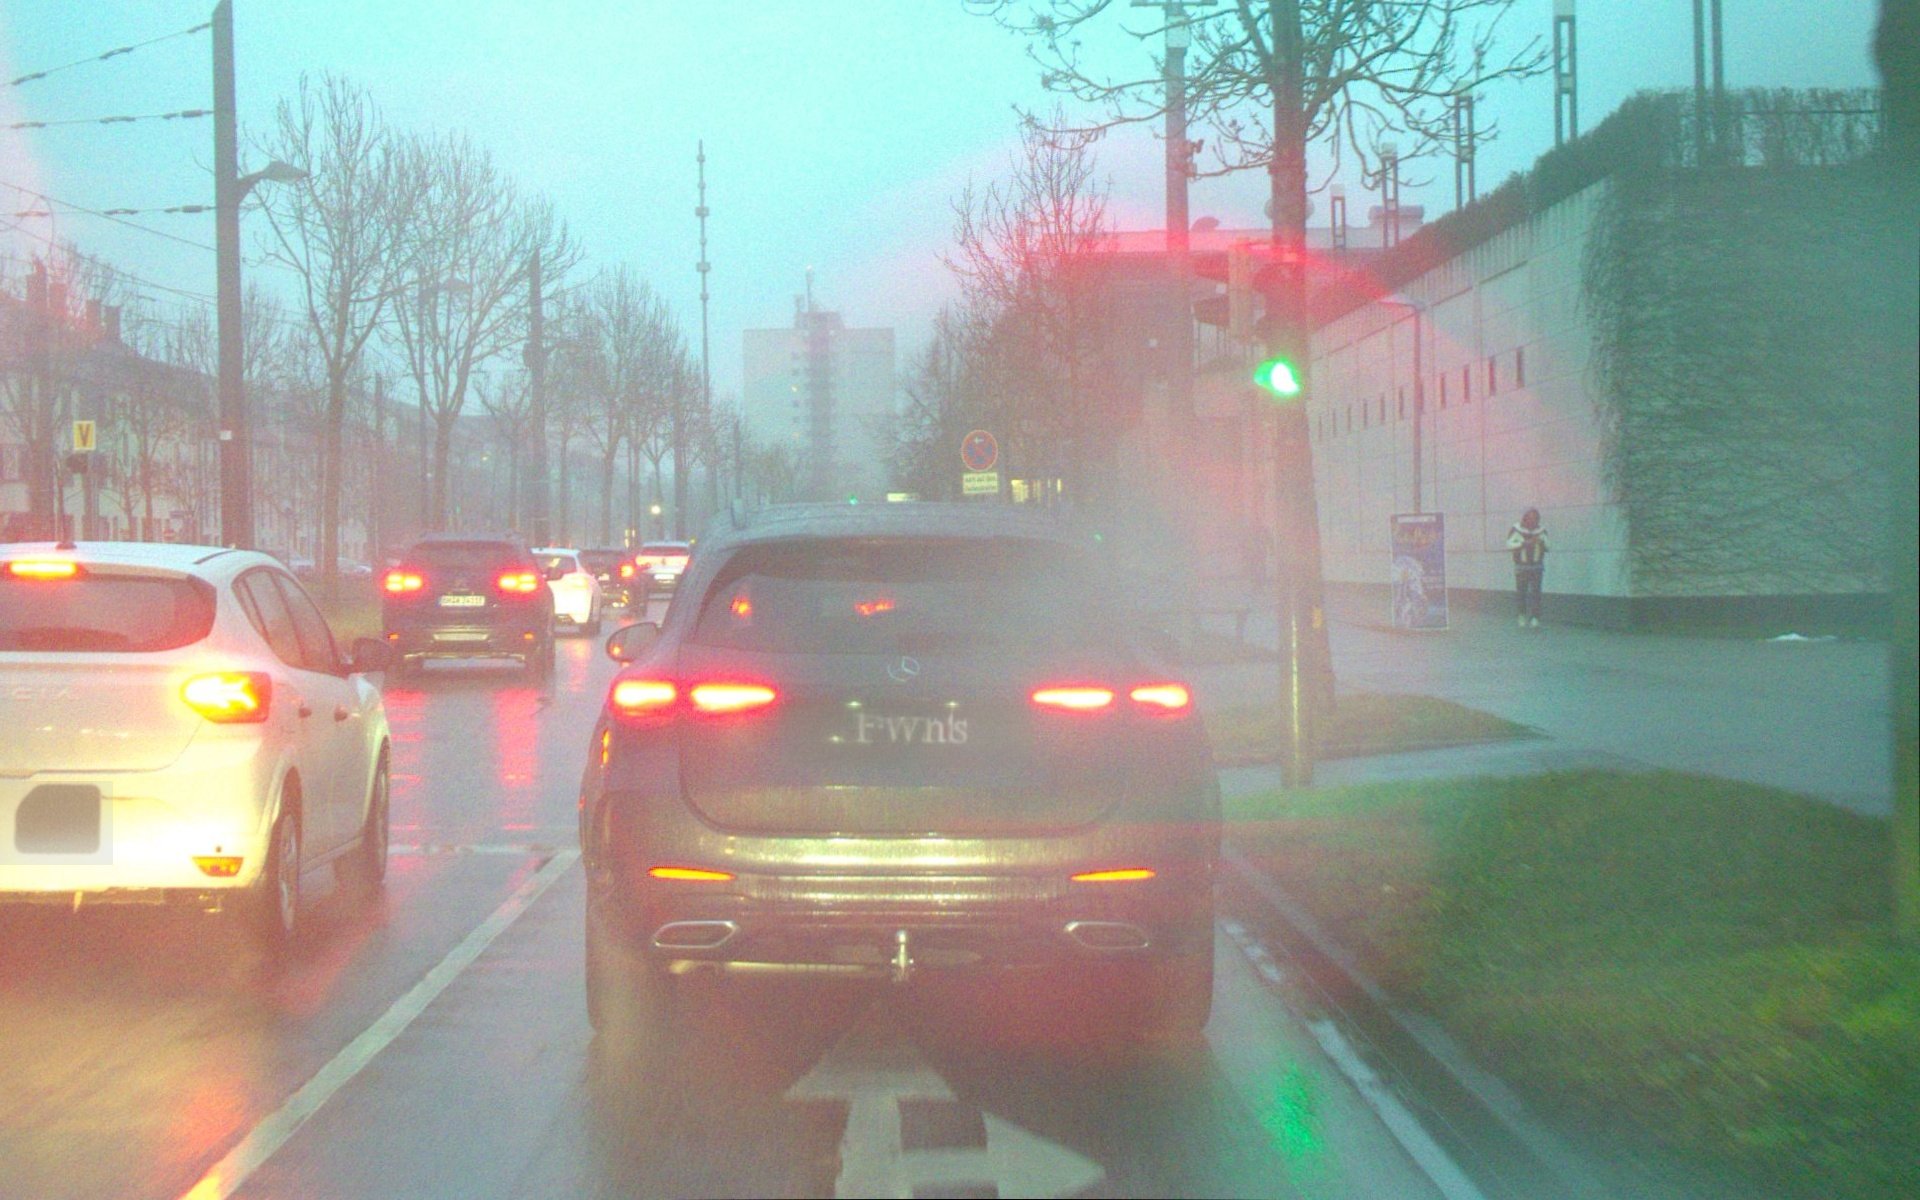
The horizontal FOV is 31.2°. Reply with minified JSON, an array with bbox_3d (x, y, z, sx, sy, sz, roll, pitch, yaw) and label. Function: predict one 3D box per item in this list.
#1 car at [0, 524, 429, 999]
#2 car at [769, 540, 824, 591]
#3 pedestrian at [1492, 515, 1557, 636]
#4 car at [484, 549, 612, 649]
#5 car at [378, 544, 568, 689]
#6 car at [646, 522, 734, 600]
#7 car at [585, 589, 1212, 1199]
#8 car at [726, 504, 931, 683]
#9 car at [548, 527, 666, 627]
[{"bbox_3d":[-3.239,0.516,13.599,1.672,1.594,4.054,1,1,-1],"label":"car"},{"bbox_3d":[-6.697,-1.423,141.115,1.993,2.007,4.000,-1,1,0],"label":"car"},{"bbox_3d":[7.611,-0.339,46.366,0.621,1.605,1.067,-1,1,-5],"label":"pedestrian"},{"bbox_3d":[-6.813,-0.039,57.134,1.672,1.594,4.054,1,1,-1],"label":"car"},{"bbox_3d":[-5.626,0.157,40.117,1.672,1.594,4.054,1,1,-1],"label":"car"},{"bbox_3d":[-7.266,-1.038,92.821,1.993,2.007,4.000,2,0,0],"label":"car"},{"bbox_3d":[-0.185,0.786,11.284,1.672,1.594,4.054,1,1,-1],"label":"car"},{"bbox_3d":[-1.311,-0.090,35.796,1.993,1.738,4.000,-1,1,0],"label":"car"},{"bbox_3d":[-7.410,-0.476,72.419,1.993,2.007,4.000,2,0,0],"label":"car"}]
